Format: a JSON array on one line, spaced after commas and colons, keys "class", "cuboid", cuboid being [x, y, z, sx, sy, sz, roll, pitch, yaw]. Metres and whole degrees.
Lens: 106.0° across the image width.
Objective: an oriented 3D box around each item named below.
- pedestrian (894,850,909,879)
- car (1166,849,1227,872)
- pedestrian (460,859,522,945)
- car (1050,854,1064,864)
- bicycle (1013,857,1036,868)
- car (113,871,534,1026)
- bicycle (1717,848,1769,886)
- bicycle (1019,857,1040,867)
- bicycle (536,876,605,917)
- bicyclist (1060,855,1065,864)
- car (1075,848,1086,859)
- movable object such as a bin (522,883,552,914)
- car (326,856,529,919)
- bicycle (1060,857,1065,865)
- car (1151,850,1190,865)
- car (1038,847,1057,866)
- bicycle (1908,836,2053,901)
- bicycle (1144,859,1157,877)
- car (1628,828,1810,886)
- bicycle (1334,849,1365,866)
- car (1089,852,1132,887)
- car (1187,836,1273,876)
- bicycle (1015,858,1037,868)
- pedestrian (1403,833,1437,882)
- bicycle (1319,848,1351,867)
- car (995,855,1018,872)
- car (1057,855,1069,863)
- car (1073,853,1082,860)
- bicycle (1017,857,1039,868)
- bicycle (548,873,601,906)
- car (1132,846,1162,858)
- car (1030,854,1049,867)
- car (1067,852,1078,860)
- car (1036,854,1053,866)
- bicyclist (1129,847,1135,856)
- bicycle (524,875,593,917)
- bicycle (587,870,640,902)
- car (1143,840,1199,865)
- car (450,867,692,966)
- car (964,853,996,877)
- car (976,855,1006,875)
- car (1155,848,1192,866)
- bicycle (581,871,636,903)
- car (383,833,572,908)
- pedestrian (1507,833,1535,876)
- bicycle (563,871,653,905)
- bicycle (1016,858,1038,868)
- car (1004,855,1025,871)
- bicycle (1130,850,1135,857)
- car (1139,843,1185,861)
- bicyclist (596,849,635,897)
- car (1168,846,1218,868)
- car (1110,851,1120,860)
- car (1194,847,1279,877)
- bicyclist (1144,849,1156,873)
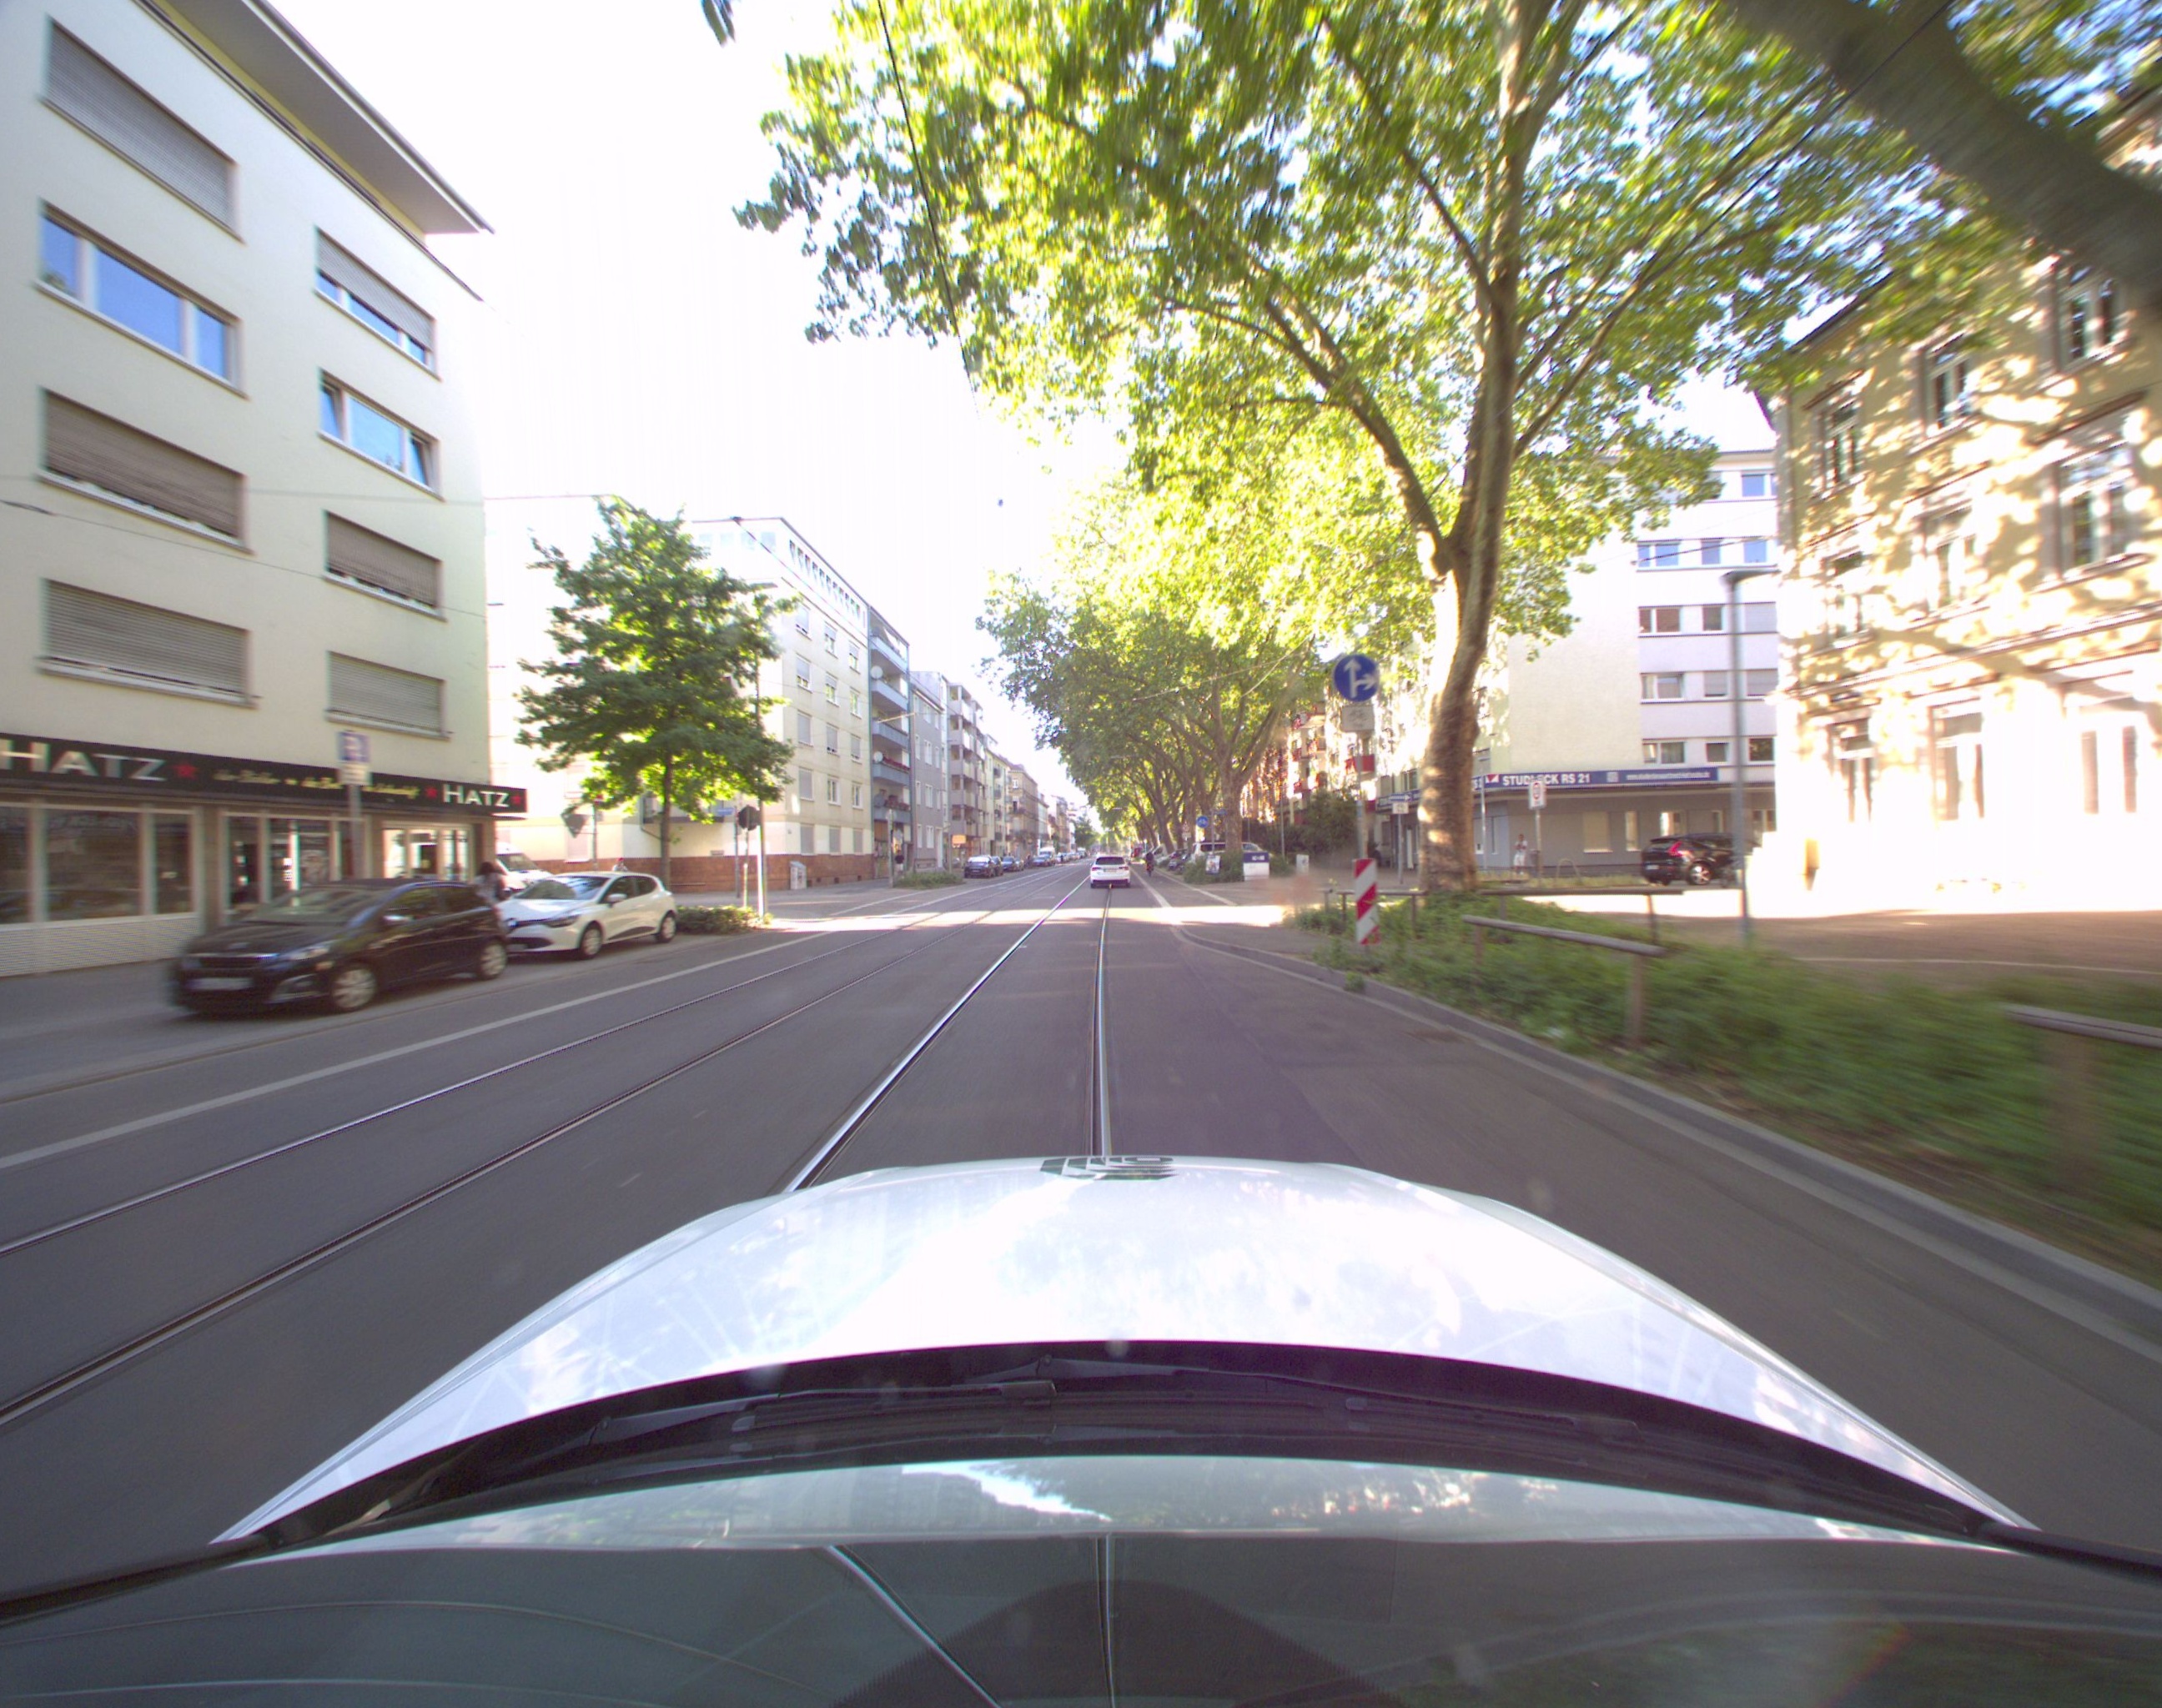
[{"class": "pedestrian", "cuboid": [-11.400, 0.662, 51.638, 0.661, 1.826, 0.965, -1, 0, 1]}, {"class": "car", "cuboid": [8.209, 0.454, 58.165, 4.128, 1.514, 1.931, -2, 0, 1]}, {"class": "pedestrian", "cuboid": [-12.047, 0.954, 16.645, 0.661, 1.691, 0.749, -1, 0, 0]}, {"class": "car", "cuboid": [-3.992, 0.819, 136.319, 1.986, 1.530, 4.002, -2, 0, 2]}, {"class": "bicycle", "cuboid": [-6.352, 1.003, 92.260, 2.544, 1.172, 0.873, 1, -2, -38]}, {"class": "car", "cuboid": [-9.018, 1.011, 10.270, 1.710, 1.464, 3.993, 2, 0, -5]}, {"class": "bicycle", "cuboid": [17.991, 0.336, 22.118, 1.842, 1.007, 0.563, 0, -1, -34]}, {"class": "bicycle", "cuboid": [-6.131, 1.007, 96.919, 2.520, 1.172, 0.718, 0, -2, -4]}, {"class": "bicycle", "cuboid": [-15.692, 1.311, 25.036, 1.930, 1.156, 0.574, -4, 0, 16]}, {"class": "bicyclist", "cuboid": [-2.615, 0.766, 116.251, 0.595, 1.286, 0.917, -2, 0, -1]}, {"class": "car", "cuboid": [-0.110, -0.137, 238.872, 2.956, 3.155, 5.850, -1, 0, 2]}, {"class": "movable object such as a bin", "cuboid": [-17.973, 1.458, 26.915, 0.593, 0.973, 0.639, -2, 0, -9]}, {"class": "car", "cuboid": [-21.270, 1.049, 26.672, 4.862, 1.822, 2.037, -2, 0, -2]}, {"class": "bicycle", "cuboid": [-2.602, 1.037, 116.197, 0.603, 1.071, 1.583, -2, 0, 0]}, {"class": "car", "cuboid": [9.957, 0.375, 91.093, 4.041, 1.540, 1.997, -2, 0, -4]}, {"class": "car", "cuboid": [-4.790, 0.301, 115.996, 2.170, 2.597, 4.952, -2, 0, 2]}, {"class": "bicycle", "cuboid": [16.878, 0.258, 15.355, 0.580, 1.104, 1.923, -3, 0, 2]}, {"class": "bicycle", "cuboid": [4.316, 0.887, 50.734, 0.679, 1.071, 1.782, -2, 0, 3]}, {"class": "car", "cuboid": [19.534, 0.086, 25.065, 4.121, 1.593, 1.998, -1, 0, -3]}, {"class": "bicycle", "cuboid": [17.802, 0.214, 54.060, 1.786, 1.041, 0.617, -3, 0, -2]}, {"class": "car", "cuboid": [1.317, 0.644, 35.935, 1.754, 1.384, 4.003, -2, 0, 3]}, {"class": "car", "cuboid": [8.520, 0.110, 46.933, 4.529, 2.076, 2.000, -2, 0, -1]}, {"class": "bicycle", "cuboid": [-6.252, 1.005, 93.140, 2.520, 1.172, 0.718, 0, -2, -5]}, {"class": "pedestrian", "cuboid": [13.384, 0.120, 32.158, 0.764, 1.866, 1.188, -2, 0, -1]}, {"class": "bicycle", "cuboid": [16.894, 0.211, 54.154, 1.942, 1.156, 0.571, -3, 0, -5]}, {"class": "car", "cuboid": [-6.827, 0.860, 75.002, 1.648, 1.437, 3.837, -1, 0, 1]}, {"class": "car", "cuboid": [-3.293, 0.914, 150.274, 1.986, 1.530, 4.002, -2, 0, 2]}, {"class": "car", "cuboid": [-0.920, 0.693, 198.117, 1.986, 1.640, 4.002, -1, 0, 2]}, {"class": "bicycle", "cuboid": [-6.213, 1.002, 95.016, 2.519, 1.172, 0.718, 0, -2, -3]}, {"class": "bicycle", "cuboid": [-19.581, 1.359, 31.522, 1.612, 1.156, 0.577, -3, 0, -43]}, {"class": "car", "cuboid": [14.033, -0.480, 172.674, 6.110, 2.282, 2.529, -2, 0, 0]}, {"class": "car", "cuboid": [-5.328, 0.805, 104.274, 1.986, 1.530, 4.002, -2, 0, 2]}, {"class": "car", "cuboid": [-1.815, 0.514, 172.290, 1.986, 1.640, 4.002, -1, 0, 2]}, {"class": "car", "cuboid": [-4.927, 0.837, 110.048, 1.986, 1.530, 4.002, -2, 0, 2]}, {"class": "bicyclist", "cuboid": [7.299, -0.378, 116.377, 0.647, 1.344, 0.934, -2, 0, 0]}, {"class": "bicycle", "cuboid": [-15.805, 1.278, 24.635, 1.930, 1.156, 0.574, -4, 0, 16]}, {"class": "bicycle", "cuboid": [-19.146, 1.298, 33.372, 1.747, 1.156, 0.583, -3, 0, -7]}, {"class": "car", "cuboid": [10.300, -0.171, 93.920, 6.110, 2.635, 2.529, -2, 0, 0]}, {"class": "car", "cuboid": [-9.022, 1.017, 14.933, 1.708, 1.464, 4.374, 2, 0, -2]}, {"class": "car", "cuboid": [-7.343, 0.778, 59.482, 1.696, 1.650, 4.242, 1, 0, 1]}, {"class": "car", "cuboid": [-7.106, 0.845, 64.464, 1.695, 1.544, 4.244, 1, 0, 2]}, {"class": "car", "cuboid": [9.290, 0.308, 81.684, 3.617, 1.666, 1.824, -2, 0, 4]}, {"class": "bicycle", "cuboid": [-19.142, 1.316, 33.012, 1.747, 1.156, 0.583, -3, 0, -7]}, {"class": "car", "cuboid": [-23.908, 0.644, 32.421, 5.788, 2.723, 2.170, -2, 0, 0]}, {"class": "pedestrian", "cuboid": [17.342, 0.030, 32.125, 0.743, 1.644, 0.666, -1, 0, 3]}, {"class": "bicycle", "cuboid": [-17.317, 1.248, 29.865, 2.782, 1.156, 0.922, -1, 0, 5]}, {"class": "bicycle", "cuboid": [-6.230, 1.005, 94.027, 2.519, 1.172, 0.718, 0, -2, -3]}, {"class": "car", "cuboid": [-6.518, 0.855, 80.069, 1.478, 1.403, 3.995, -1, 0, 4]}, {"class": "bicycle", "cuboid": [7.315, -0.066, 116.364, 0.647, 1.071, 1.583, -2, 0, 0]}, {"class": "car", "cuboid": [11.206, -0.247, 112.532, 6.110, 2.282, 2.529, -2, 0, 0]}, {"class": "bicyclist", "cuboid": [-17.057, 0.698, 29.865, 0.867, 1.704, 0.909, -1, 0, 5]}, {"class": "car", "cuboid": [9.447, 0.266, 69.054, 3.973, 1.680, 1.724, -2, 0, 1]}, {"class": "car", "cuboid": [5.842, 0.235, 140.181, 1.754, 1.475, 4.003, -2, 0, 3]}, {"class": "car", "cuboid": [8.435, 0.434, 44.354, 4.282, 1.479, 1.831, -2, 0, 1]}, {"class": "bicyclist", "cuboid": [4.305, 0.423, 50.863, 0.676, 1.443, 1.048, -2, 0, 3]}]
